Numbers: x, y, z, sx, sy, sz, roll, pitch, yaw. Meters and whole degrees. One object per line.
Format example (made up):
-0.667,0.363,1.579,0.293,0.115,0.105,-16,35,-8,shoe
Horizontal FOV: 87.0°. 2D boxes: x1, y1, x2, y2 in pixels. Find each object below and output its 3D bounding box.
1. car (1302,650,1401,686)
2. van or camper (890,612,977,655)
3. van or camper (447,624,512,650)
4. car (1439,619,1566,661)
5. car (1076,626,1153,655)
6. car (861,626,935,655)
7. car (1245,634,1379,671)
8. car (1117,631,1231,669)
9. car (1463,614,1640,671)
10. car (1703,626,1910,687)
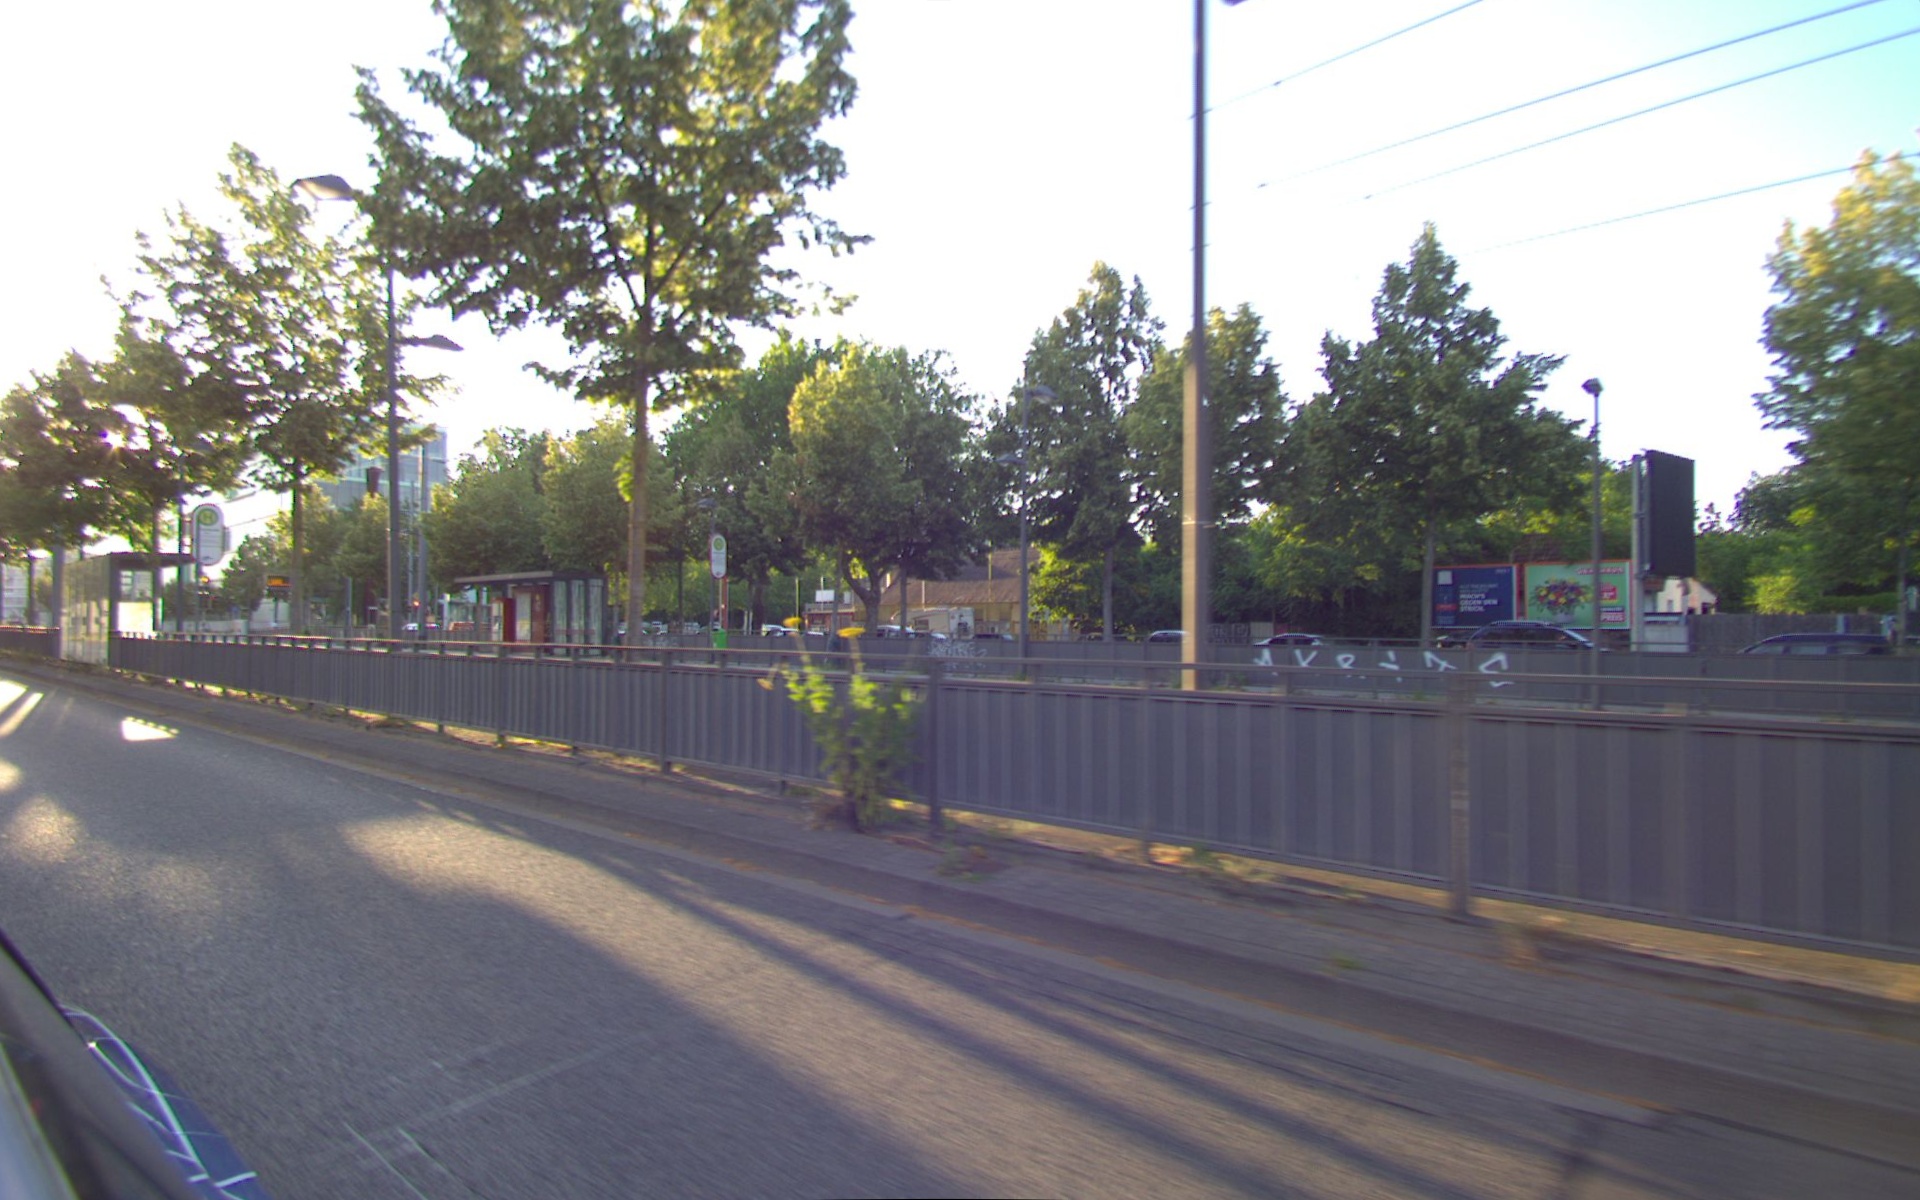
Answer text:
17.114,2.949,44.291,3.658,1.459,1.701,-2,-2,42,car
-1.721,2.113,63.767,2.363,2.583,5.639,2,-3,-43,van or camper
-40.934,3.128,86.228,4.806,2.029,2.006,-1,-1,-33,van or camper
21.432,1.562,40.053,1.970,1.564,4.003,2,-3,-44,car
8.153,2.132,53.516,3.644,1.512,1.804,-2,-2,43,car
-3.445,2.208,55.849,1.970,1.542,4.003,2,-3,-44,car
12.504,1.838,36.107,4.089,1.210,1.972,-2,-2,43,car
8.506,1.964,40.377,4.001,1.418,1.971,-2,-3,44,car
17.824,1.272,30.613,4.297,1.598,1.972,-2,-2,43,car
21.924,1.419,26.315,4.000,1.459,1.972,-2,-2,43,car
